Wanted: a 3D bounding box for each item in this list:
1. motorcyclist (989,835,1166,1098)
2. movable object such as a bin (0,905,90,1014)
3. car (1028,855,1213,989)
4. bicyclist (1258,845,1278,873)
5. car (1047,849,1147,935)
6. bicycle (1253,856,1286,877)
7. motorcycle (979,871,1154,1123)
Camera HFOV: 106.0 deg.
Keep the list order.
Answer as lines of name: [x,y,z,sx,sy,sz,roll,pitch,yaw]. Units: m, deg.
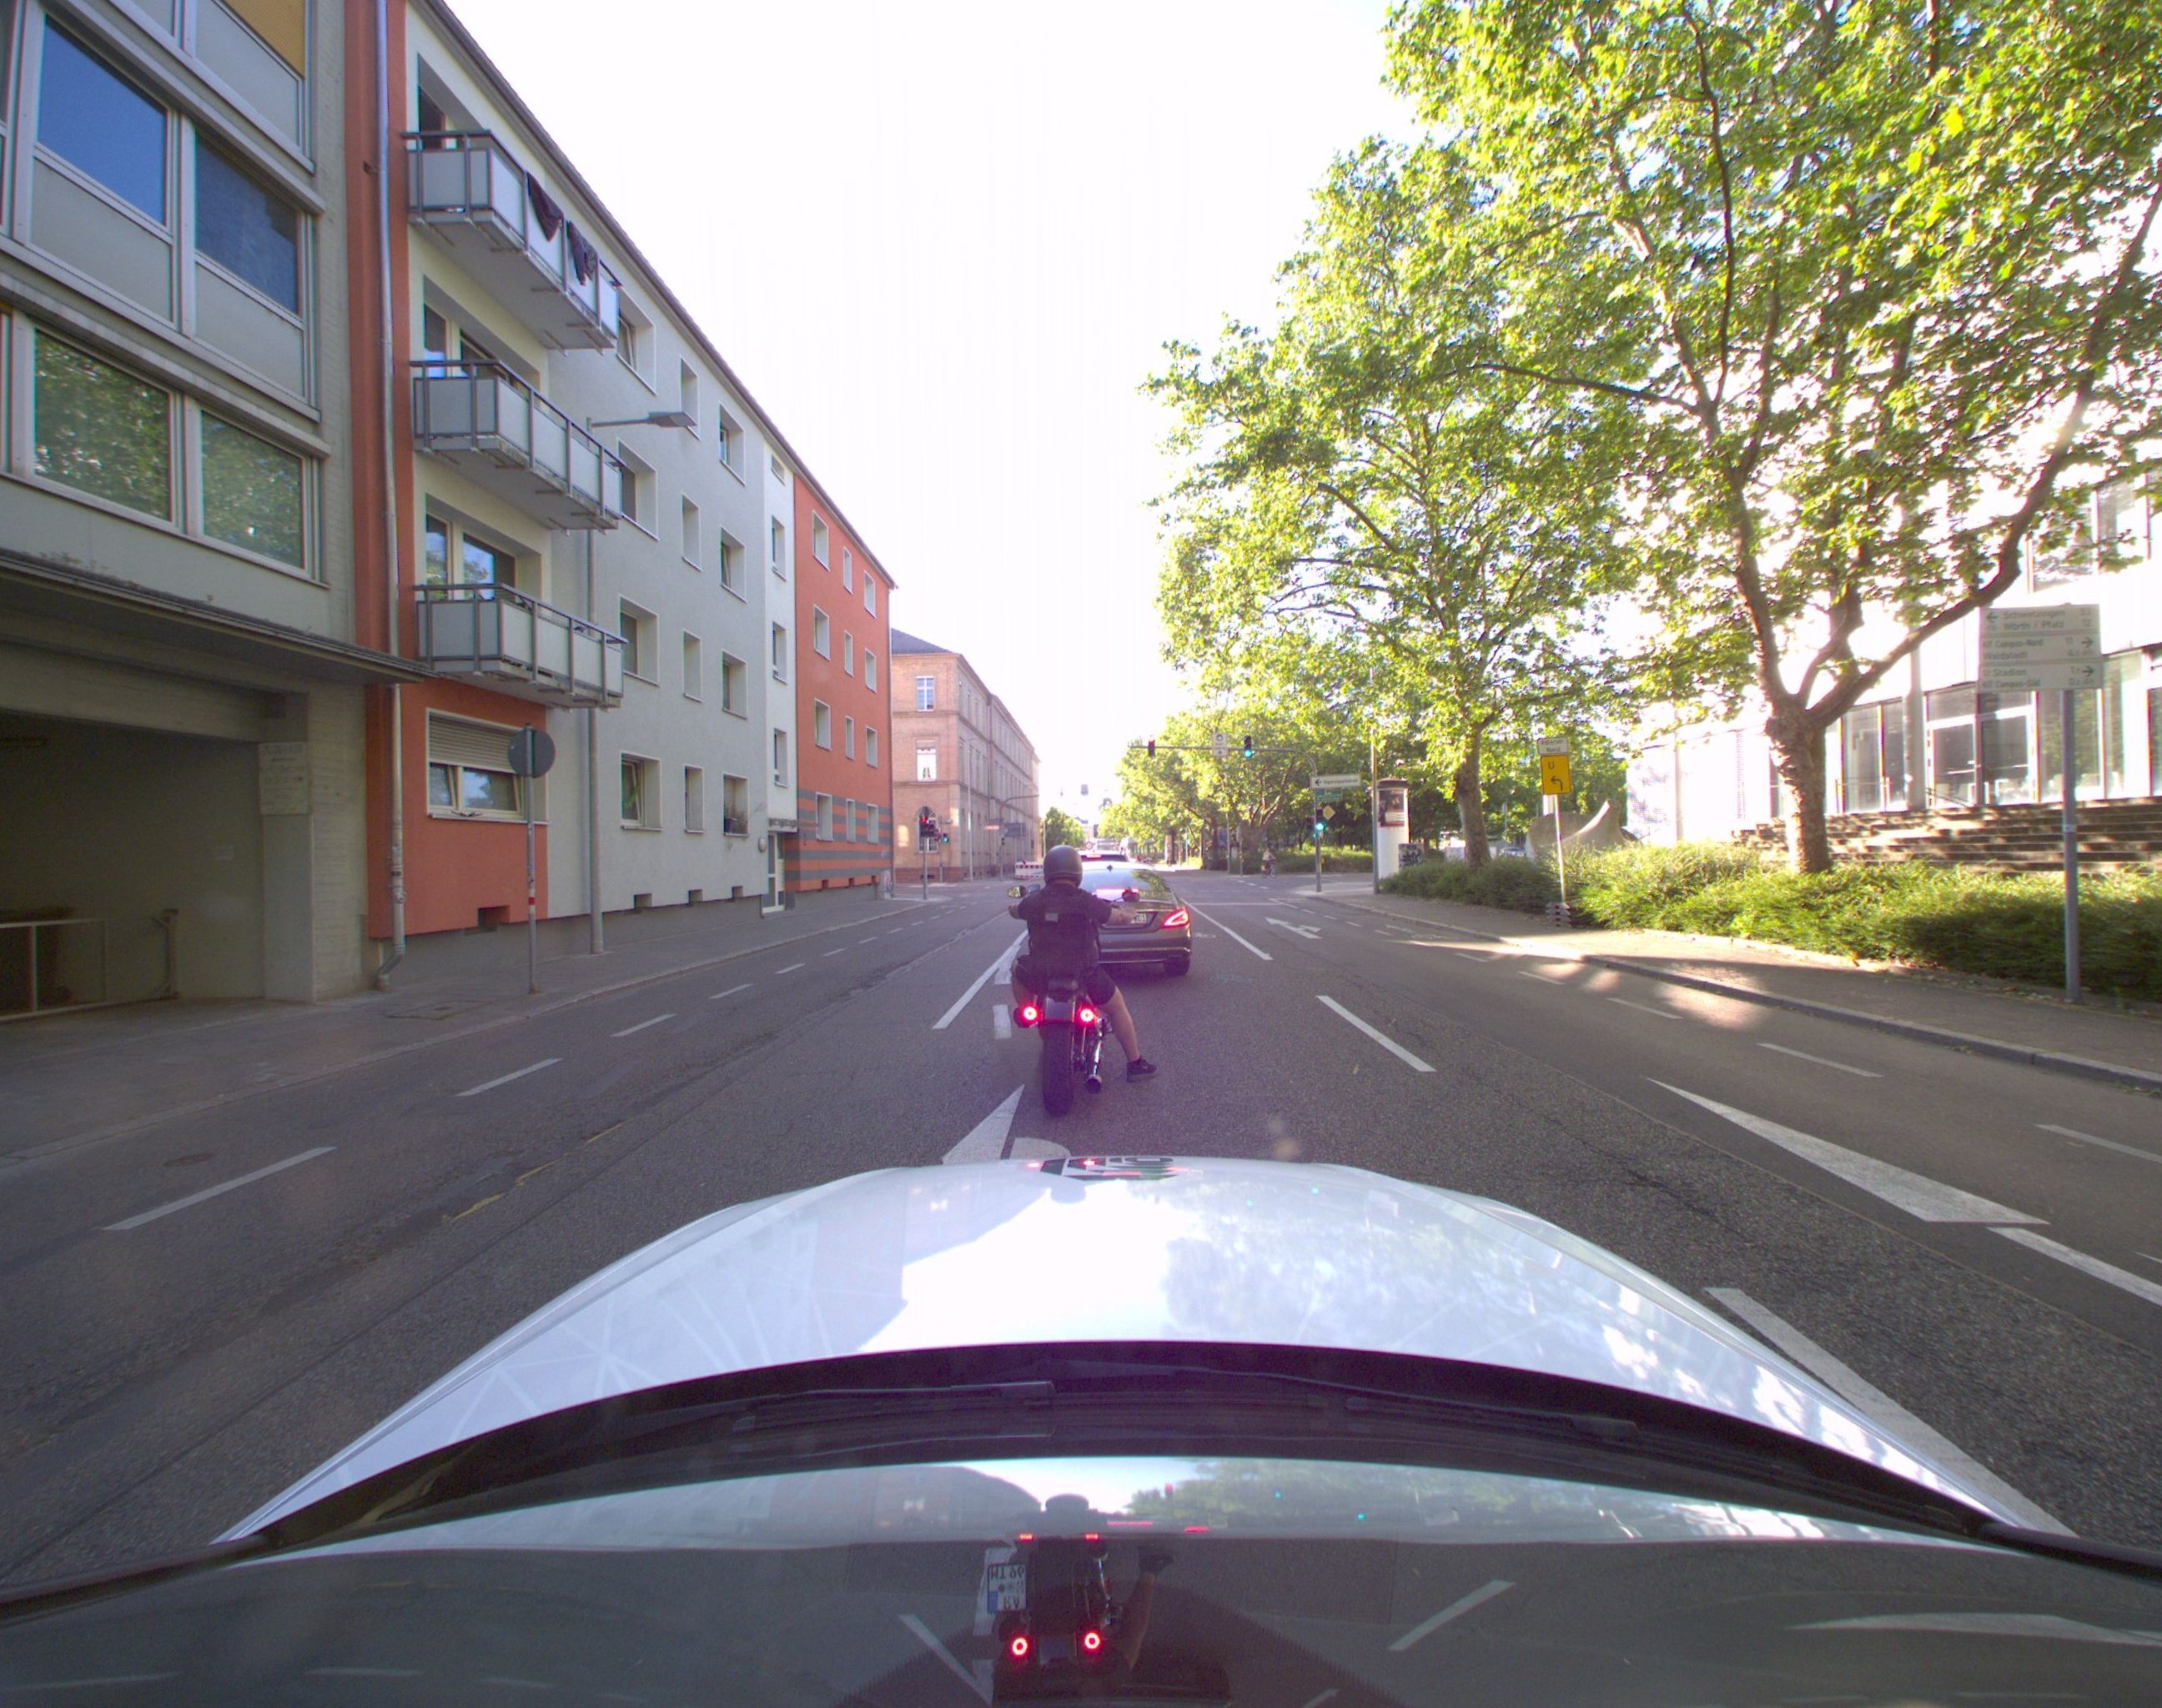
motorcyclist: [-0.008,0.686,5.386,1.057,1.582,0.908,0,-1,1]
movable object such as a bin: [-11.328,1.096,8.643,0.736,1.074,0.716,0,-1,2]
car: [0.310,0.756,11.221,1.900,1.441,4.279,-1,0,-6]
bicyclist: [10.823,0.274,47.170,0.719,1.582,0.929,0,-1,-22]
car: [0.265,0.694,16.891,1.808,1.536,3.847,-1,0,-1]
bicycle: [10.868,0.716,47.051,0.718,1.172,2.160,0,-1,-22]
motorcycle: [-0.044,0.811,5.656,0.958,1.357,2.321,0,-1,2]
